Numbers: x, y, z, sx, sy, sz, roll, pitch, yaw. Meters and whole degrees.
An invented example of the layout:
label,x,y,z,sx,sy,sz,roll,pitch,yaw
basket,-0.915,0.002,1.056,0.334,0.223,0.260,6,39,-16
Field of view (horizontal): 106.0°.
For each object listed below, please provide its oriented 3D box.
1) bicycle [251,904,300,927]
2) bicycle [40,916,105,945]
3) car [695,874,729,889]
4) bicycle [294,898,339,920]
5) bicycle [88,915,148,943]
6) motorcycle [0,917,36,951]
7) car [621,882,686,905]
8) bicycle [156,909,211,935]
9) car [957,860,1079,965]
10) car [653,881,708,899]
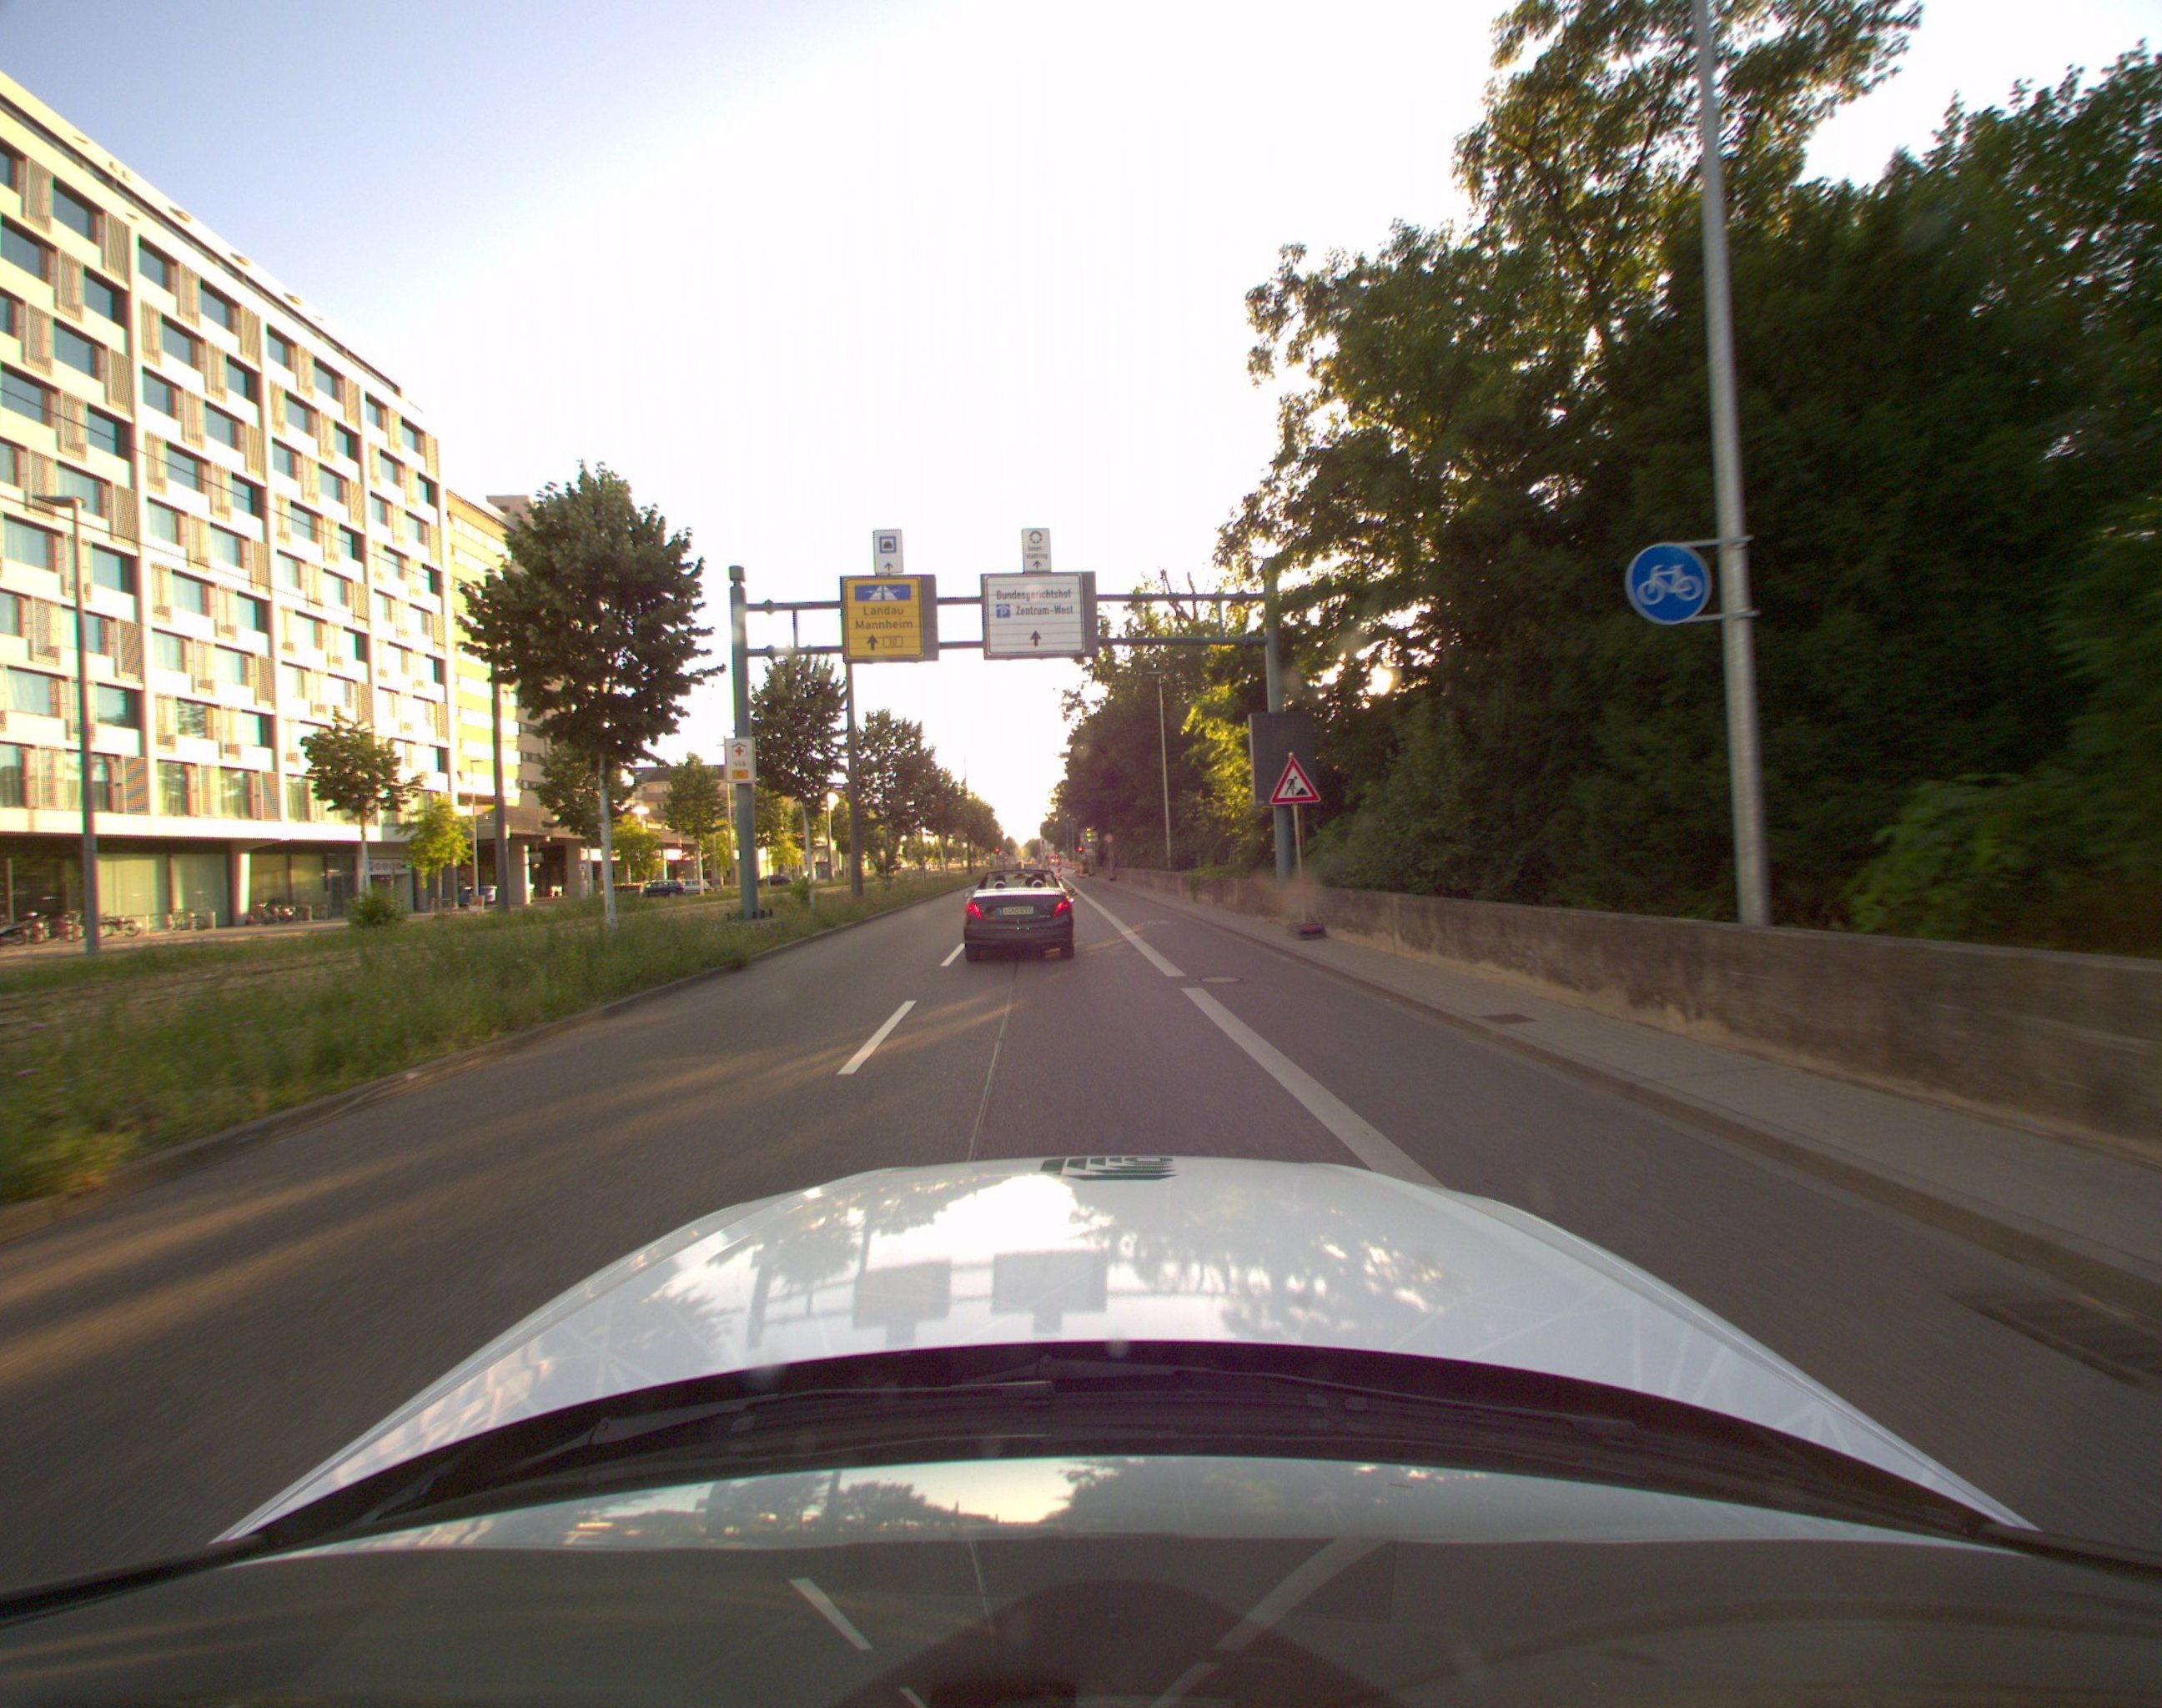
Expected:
label,x,y,z,sx,sy,sz,roll,pitch,yaw
bicycle,-39.823,3.027,40.263,1.786,1.020,0.420,-3,-1,-8
bicycle,-39.265,2.977,31.719,1.786,1.020,0.420,-3,-1,-8
car,-57.967,4.323,128.015,4.324,1.769,2.162,-5,1,-7
bicycle,-40.259,2.885,42.881,1.786,1.020,0.420,-3,-1,-8
bicycle,-39.686,3.098,33.555,1.741,1.020,0.420,-3,-1,-8
motorcycle,-39.738,2.953,29.770,1.897,1.171,0.512,-2,-1,-19
car,-34.724,3.209,66.231,4.310,1.590,1.984,-2,-1,-43
bicycle,-39.954,3.029,36.258,1.786,1.020,0.420,-3,-1,-8
car,-1.129,0.869,13.796,1.717,1.449,3.892,-2,-1,-7
car,-35.698,3.173,72.626,4.147,1.436,1.806,0,-1,-34
